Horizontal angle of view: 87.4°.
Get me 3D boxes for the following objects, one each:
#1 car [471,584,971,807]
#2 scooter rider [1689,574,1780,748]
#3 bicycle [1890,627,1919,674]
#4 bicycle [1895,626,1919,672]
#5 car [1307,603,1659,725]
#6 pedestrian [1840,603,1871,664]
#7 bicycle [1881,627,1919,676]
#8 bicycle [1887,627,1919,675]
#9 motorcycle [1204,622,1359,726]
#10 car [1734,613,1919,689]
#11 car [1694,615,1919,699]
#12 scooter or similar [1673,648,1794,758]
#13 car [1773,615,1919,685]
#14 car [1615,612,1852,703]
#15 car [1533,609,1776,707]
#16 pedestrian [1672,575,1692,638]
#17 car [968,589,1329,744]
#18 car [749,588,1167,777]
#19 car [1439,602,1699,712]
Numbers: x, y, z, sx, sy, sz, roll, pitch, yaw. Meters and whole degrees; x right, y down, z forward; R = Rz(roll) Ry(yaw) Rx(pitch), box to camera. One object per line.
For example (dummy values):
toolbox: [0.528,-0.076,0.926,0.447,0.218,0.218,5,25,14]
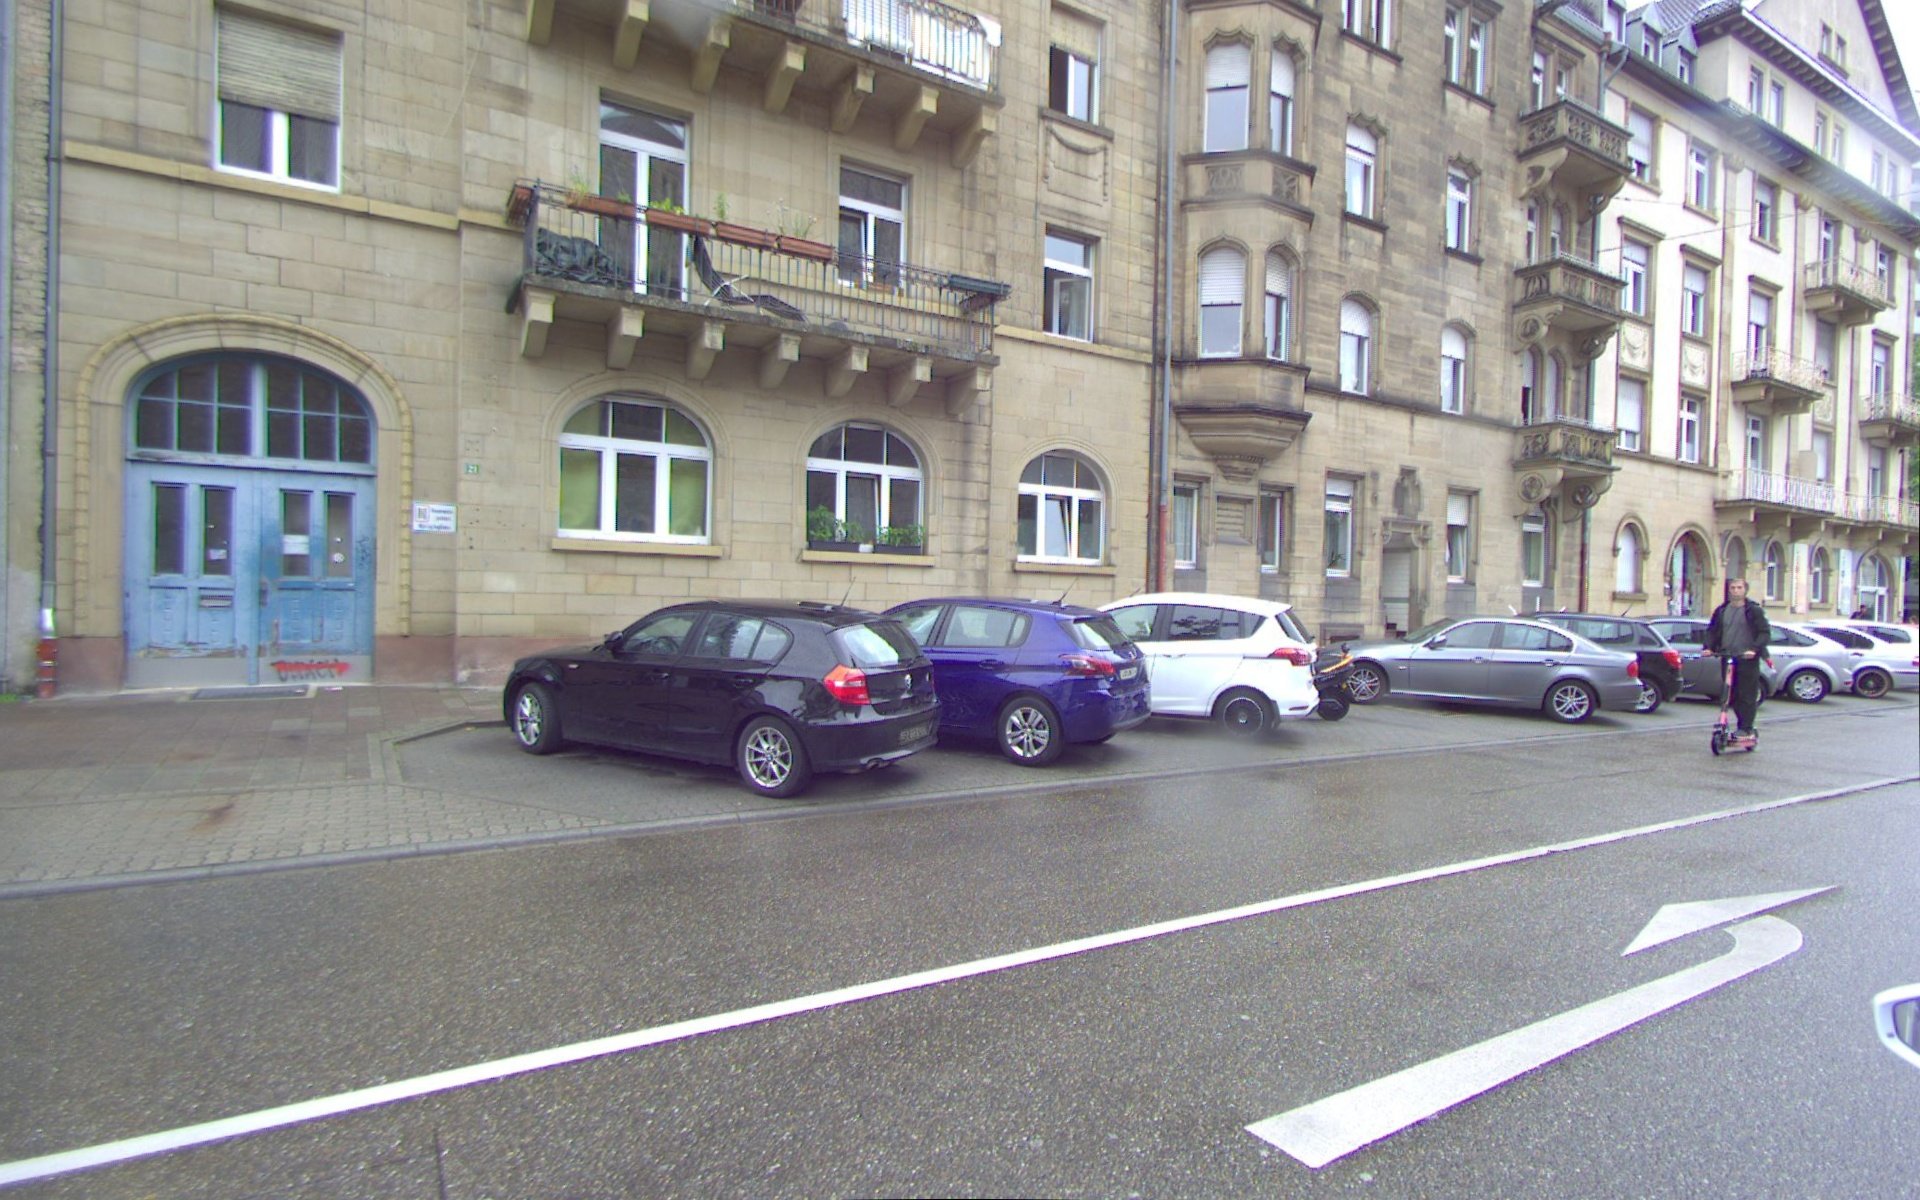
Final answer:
car: [-2.089,0.665,8.704,3.968,1.532,1.797,1,0,26]
scooter rider: [9.068,0.692,11.767,0.498,1.961,0.707,1,0,-32]
bicycle: [26.754,1.405,27.500,0.492,1.283,1.801,1,0,-31]
bicycle: [27.526,1.407,28.207,0.601,1.283,1.754,1,0,-31]
car: [7.653,0.884,15.189,4.457,1.565,1.689,1,0,17]
pedestrian: [30.250,1.134,33.939,0.647,2.040,0.565,1,0,-30]
bicycle: [25.778,1.382,26.752,0.516,1.283,1.754,1,0,-31]
bicycle: [26.235,1.384,27.043,0.492,1.283,1.801,1,0,-31]
motorcycle: [4.227,0.935,13.231,1.837,1.177,0.633,4,1,24]
car: [20.174,1.141,23.136,3.337,1.578,1.705,1,0,21]
car: [17.949,1.162,21.433,3.337,1.578,1.705,1,0,21]
scooter or similar: [9.064,1.173,11.768,1.370,1.181,0.697,1,0,-33]
car: [22.552,1.221,24.899,3.337,1.578,1.705,1,0,21]
car: [15.145,1.074,19.882,3.337,1.578,1.705,1,0,21]
car: [12.555,0.999,18.408,3.337,1.578,1.652,1,0,21]
pedestrian: [21.230,0.188,29.544,0.343,1.847,0.364,2,-1,-32]
car: [2.272,0.700,11.998,3.964,1.576,1.799,1,0,20]
car: [-0.076,0.710,10.420,3.973,1.594,1.795,1,0,31]
car: [10.072,0.892,16.907,3.484,1.619,1.605,1,0,21]
